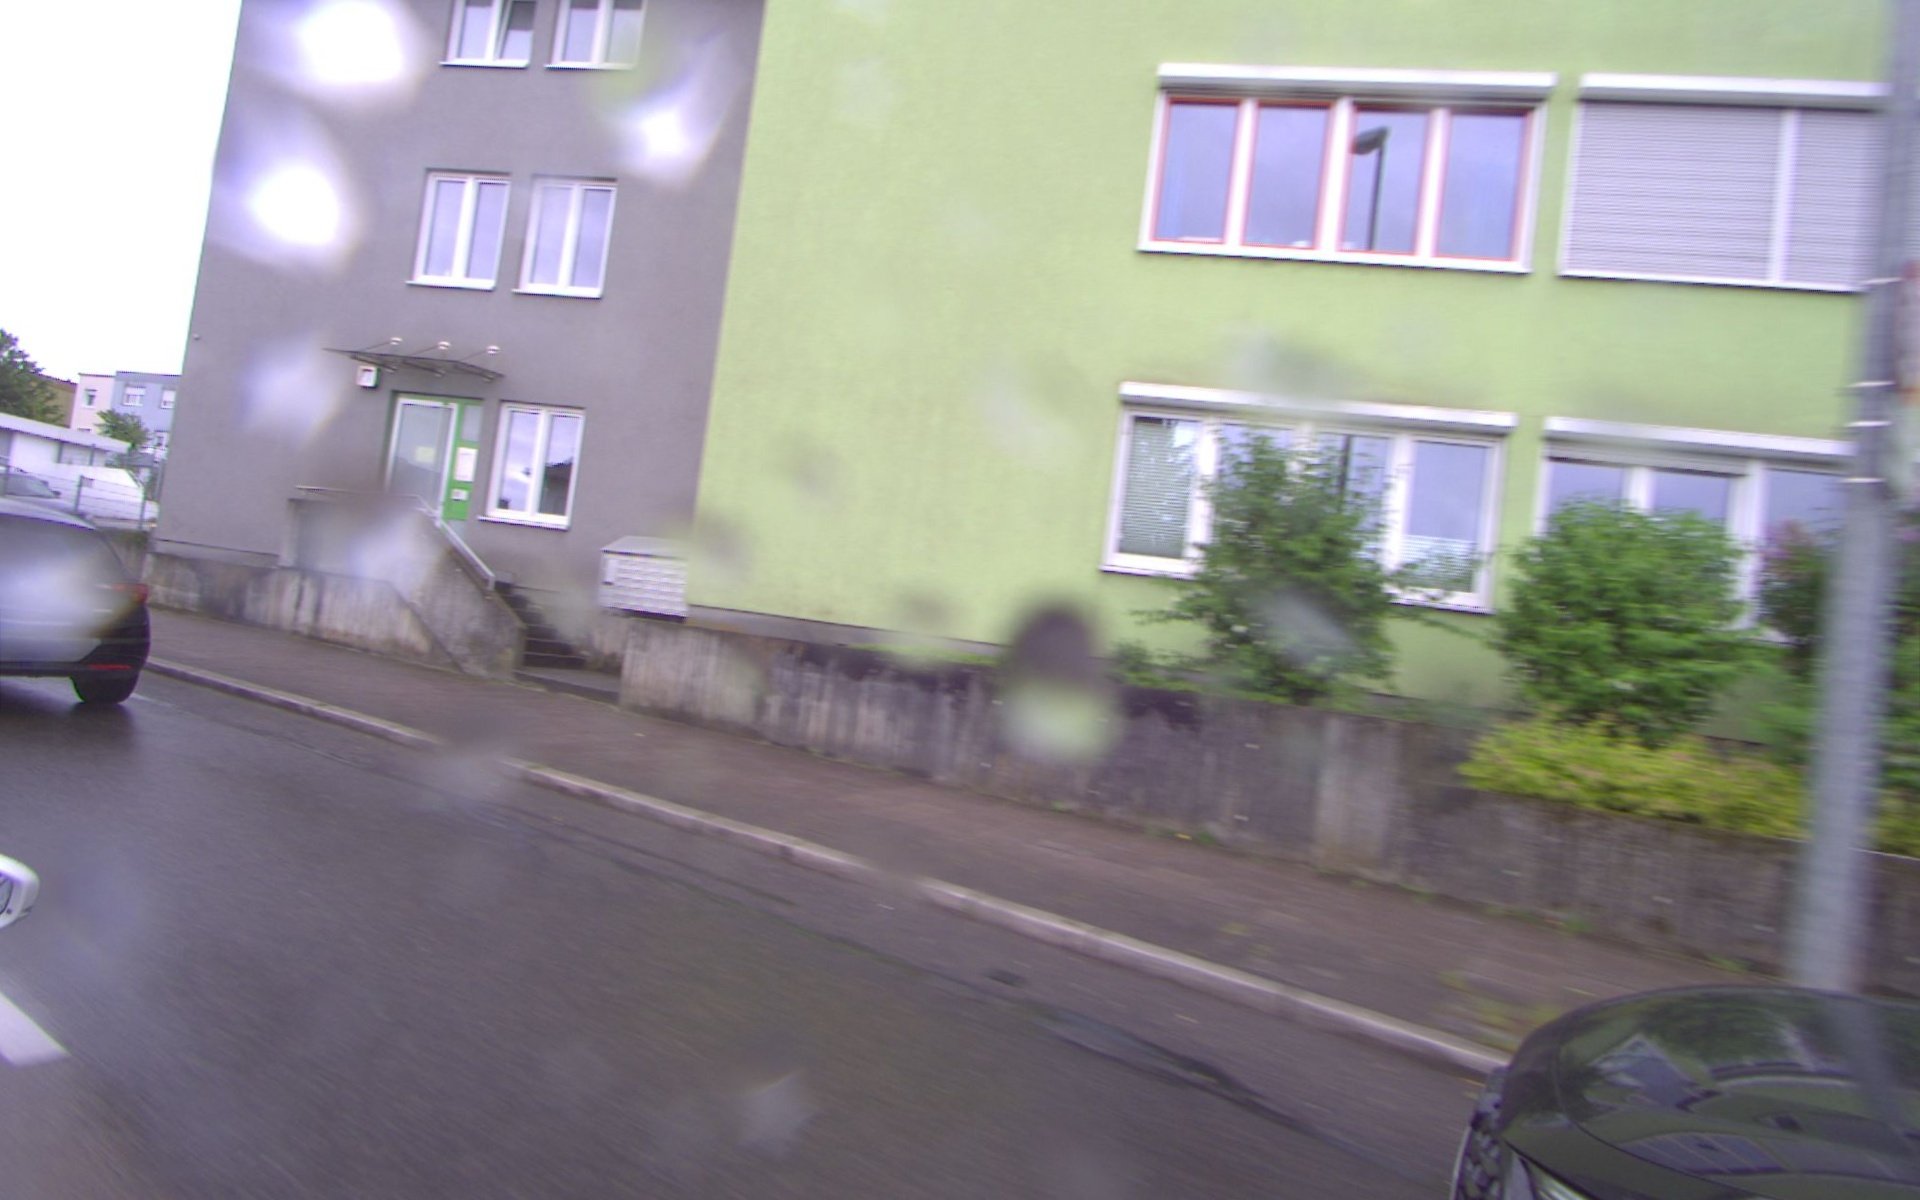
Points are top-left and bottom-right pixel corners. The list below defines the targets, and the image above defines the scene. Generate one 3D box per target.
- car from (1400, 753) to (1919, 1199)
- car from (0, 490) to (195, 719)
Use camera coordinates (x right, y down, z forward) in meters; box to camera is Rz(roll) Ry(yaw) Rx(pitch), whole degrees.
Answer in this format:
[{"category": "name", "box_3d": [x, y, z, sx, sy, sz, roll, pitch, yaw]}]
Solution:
[{"category": "car", "box_3d": [2.985, 1.183, 0.805, 4.663, 1.439, 1.870, 4, -4, 33]}, {"category": "car", "box_3d": [-7.887, -0.169, 7.517, 3.929, 1.465, 1.763, 7, -3, 27]}]
